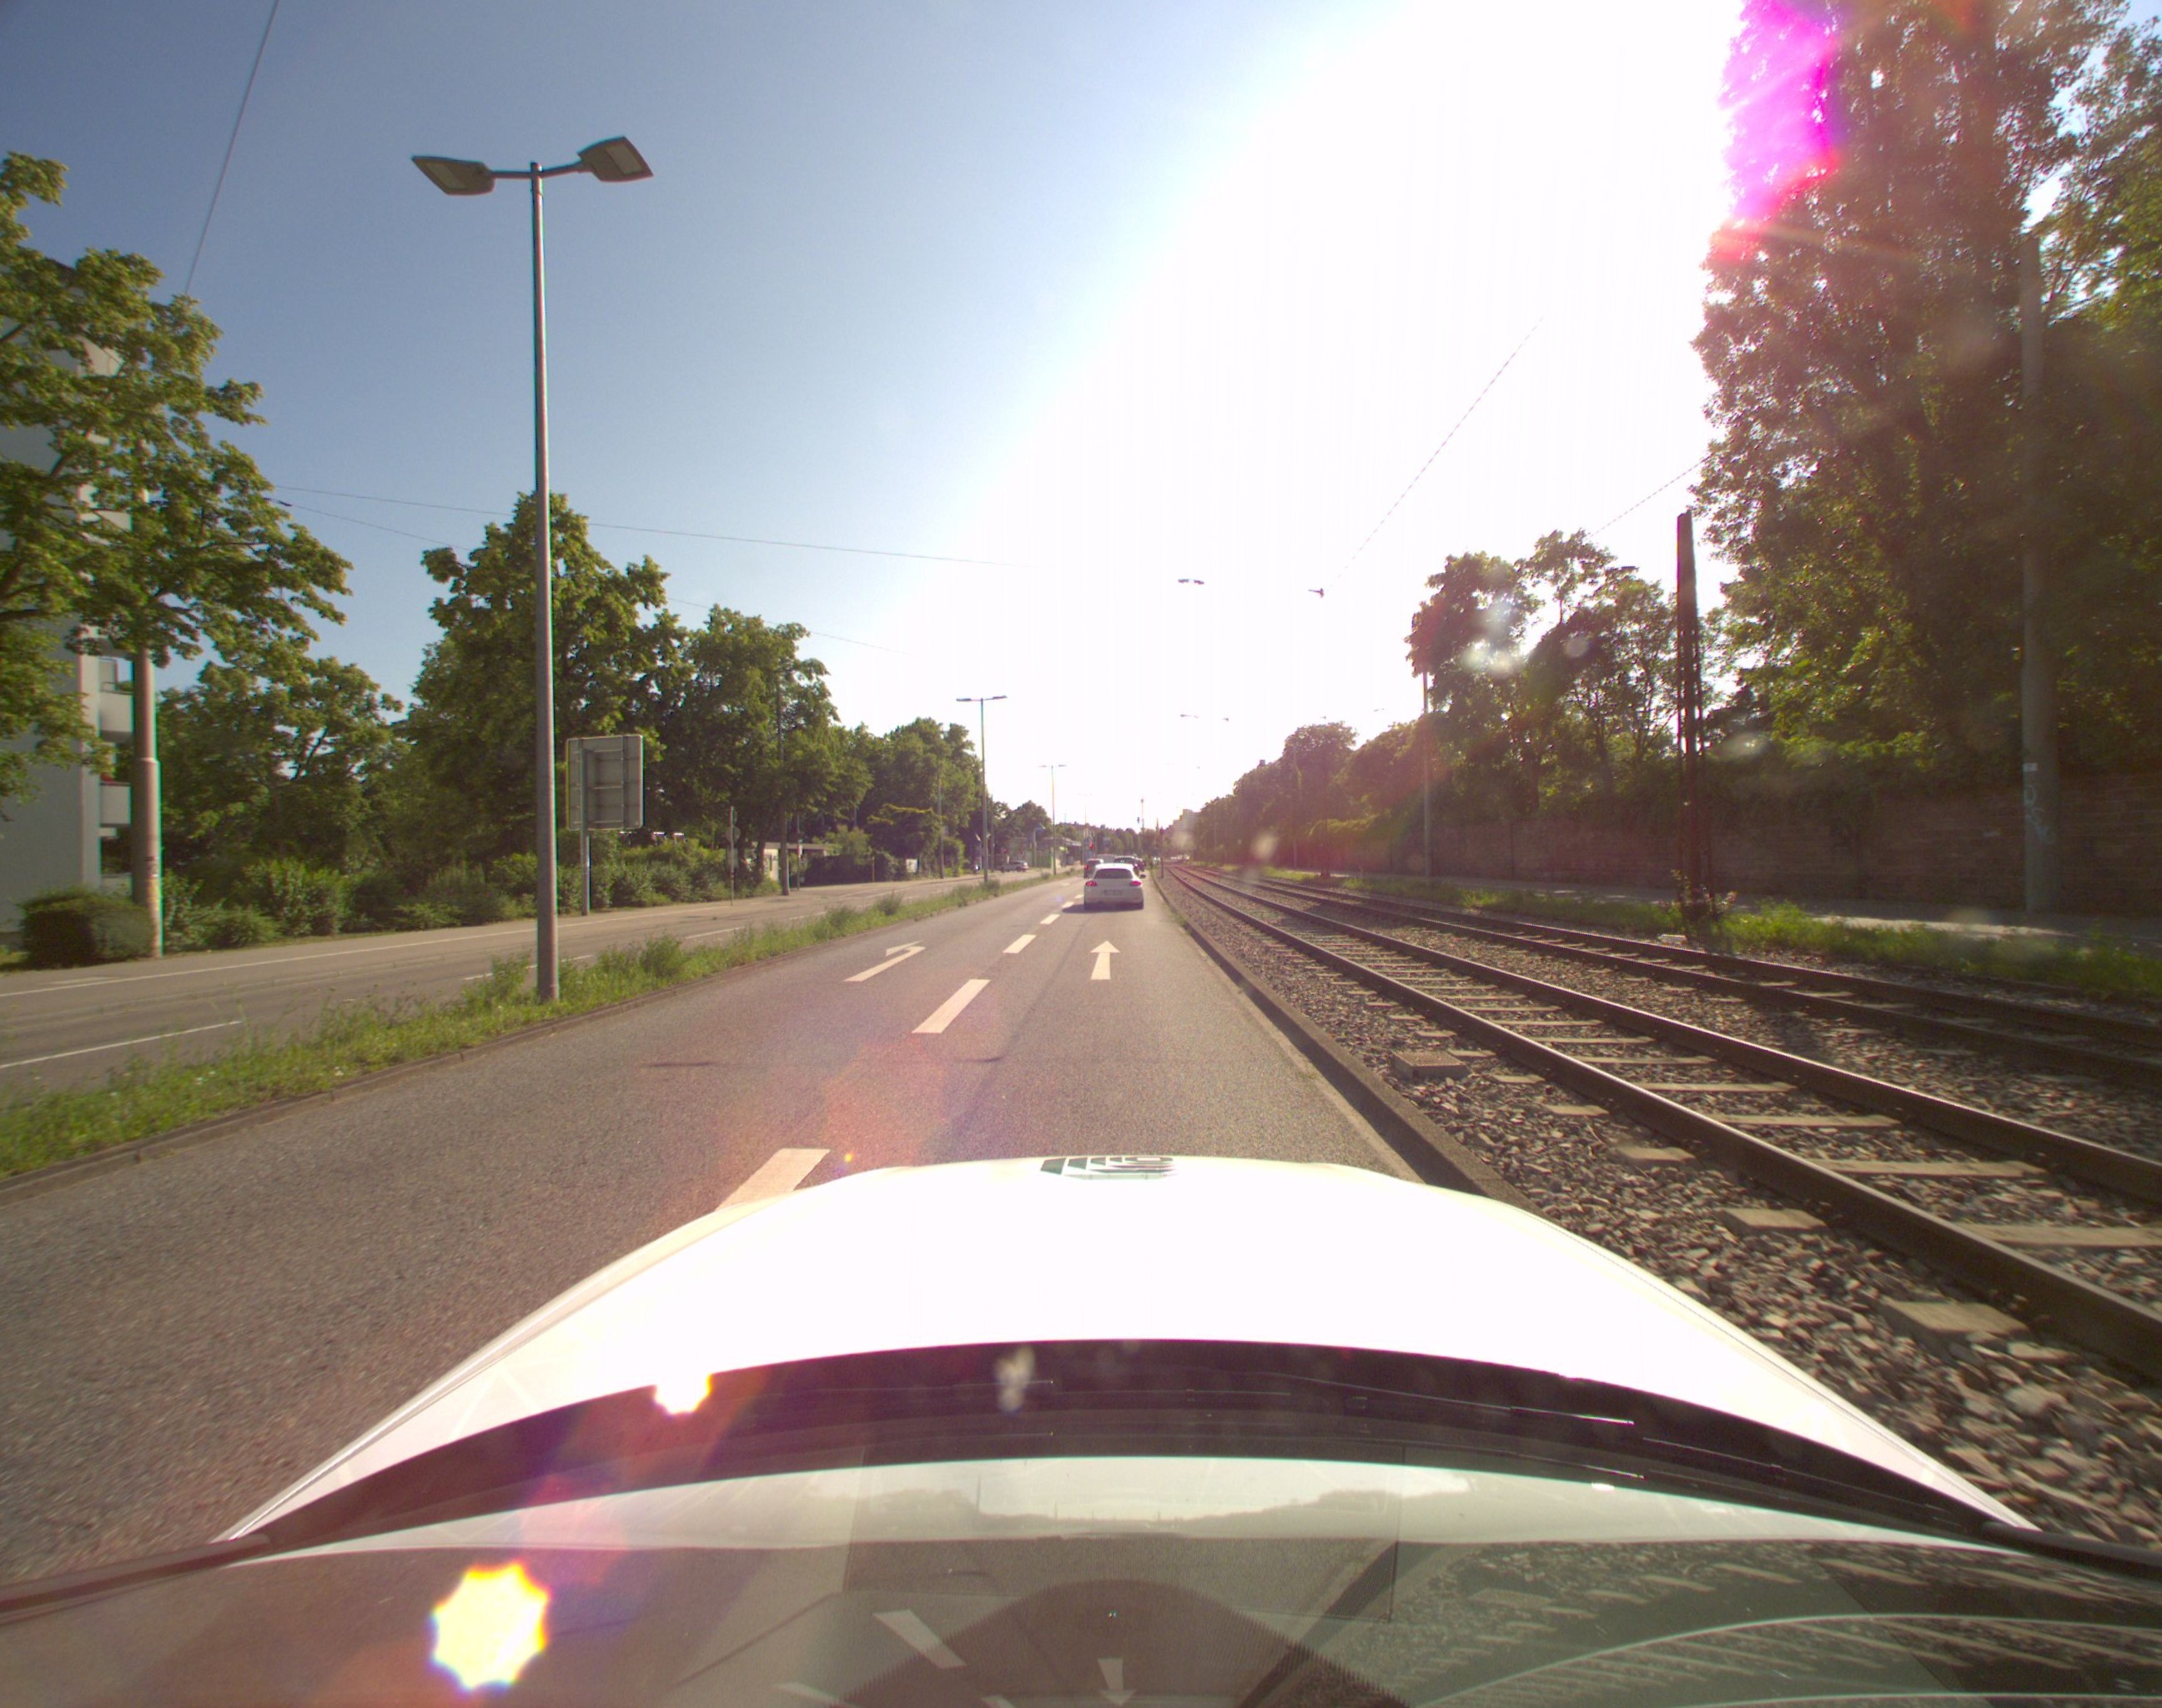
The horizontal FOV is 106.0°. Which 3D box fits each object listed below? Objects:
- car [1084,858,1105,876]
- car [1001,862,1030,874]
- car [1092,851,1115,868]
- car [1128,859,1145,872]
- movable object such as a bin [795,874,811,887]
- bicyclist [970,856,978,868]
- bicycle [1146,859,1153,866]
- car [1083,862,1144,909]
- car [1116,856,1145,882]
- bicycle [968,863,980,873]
[{"bbox_3d":[1.220,1.109,70.021,1.754,1.486,4.646,0,0,1],"label":"car"},{"bbox_3d":[-9.707,2.002,120.077,3.905,1.734,1.664,0,-1,21],"label":"car"},{"bbox_3d":[2.813,0.724,102.628,1.820,1.963,4.382,-1,-1,-13],"label":"car"},{"bbox_3d":[6.145,1.257,90.801,1.742,1.486,3.602,0,0,1],"label":"car"},{"bbox_3d":[-20.235,1.916,59.359,0.813,0.931,0.854,-2,0,4],"label":"movable object such as a bin"},{"bbox_3d":[-12.668,0.943,96.189,0.658,1.452,1.053,-2,-1,8],"label":"bicyclist"},{"bbox_3d":[10.511,1.291,124.655,0.638,1.154,1.946,-2,0,20],"label":"bicycle"},{"bbox_3d":[1.017,0.933,25.586,1.774,1.356,3.603,0,0,2],"label":"car"},{"bbox_3d":[3.118,0.946,51.466,1.718,1.593,3.602,0,0,1],"label":"car"},{"bbox_3d":[-12.659,1.656,96.088,0.658,1.049,2.586,-2,-1,8],"label":"bicycle"}]
